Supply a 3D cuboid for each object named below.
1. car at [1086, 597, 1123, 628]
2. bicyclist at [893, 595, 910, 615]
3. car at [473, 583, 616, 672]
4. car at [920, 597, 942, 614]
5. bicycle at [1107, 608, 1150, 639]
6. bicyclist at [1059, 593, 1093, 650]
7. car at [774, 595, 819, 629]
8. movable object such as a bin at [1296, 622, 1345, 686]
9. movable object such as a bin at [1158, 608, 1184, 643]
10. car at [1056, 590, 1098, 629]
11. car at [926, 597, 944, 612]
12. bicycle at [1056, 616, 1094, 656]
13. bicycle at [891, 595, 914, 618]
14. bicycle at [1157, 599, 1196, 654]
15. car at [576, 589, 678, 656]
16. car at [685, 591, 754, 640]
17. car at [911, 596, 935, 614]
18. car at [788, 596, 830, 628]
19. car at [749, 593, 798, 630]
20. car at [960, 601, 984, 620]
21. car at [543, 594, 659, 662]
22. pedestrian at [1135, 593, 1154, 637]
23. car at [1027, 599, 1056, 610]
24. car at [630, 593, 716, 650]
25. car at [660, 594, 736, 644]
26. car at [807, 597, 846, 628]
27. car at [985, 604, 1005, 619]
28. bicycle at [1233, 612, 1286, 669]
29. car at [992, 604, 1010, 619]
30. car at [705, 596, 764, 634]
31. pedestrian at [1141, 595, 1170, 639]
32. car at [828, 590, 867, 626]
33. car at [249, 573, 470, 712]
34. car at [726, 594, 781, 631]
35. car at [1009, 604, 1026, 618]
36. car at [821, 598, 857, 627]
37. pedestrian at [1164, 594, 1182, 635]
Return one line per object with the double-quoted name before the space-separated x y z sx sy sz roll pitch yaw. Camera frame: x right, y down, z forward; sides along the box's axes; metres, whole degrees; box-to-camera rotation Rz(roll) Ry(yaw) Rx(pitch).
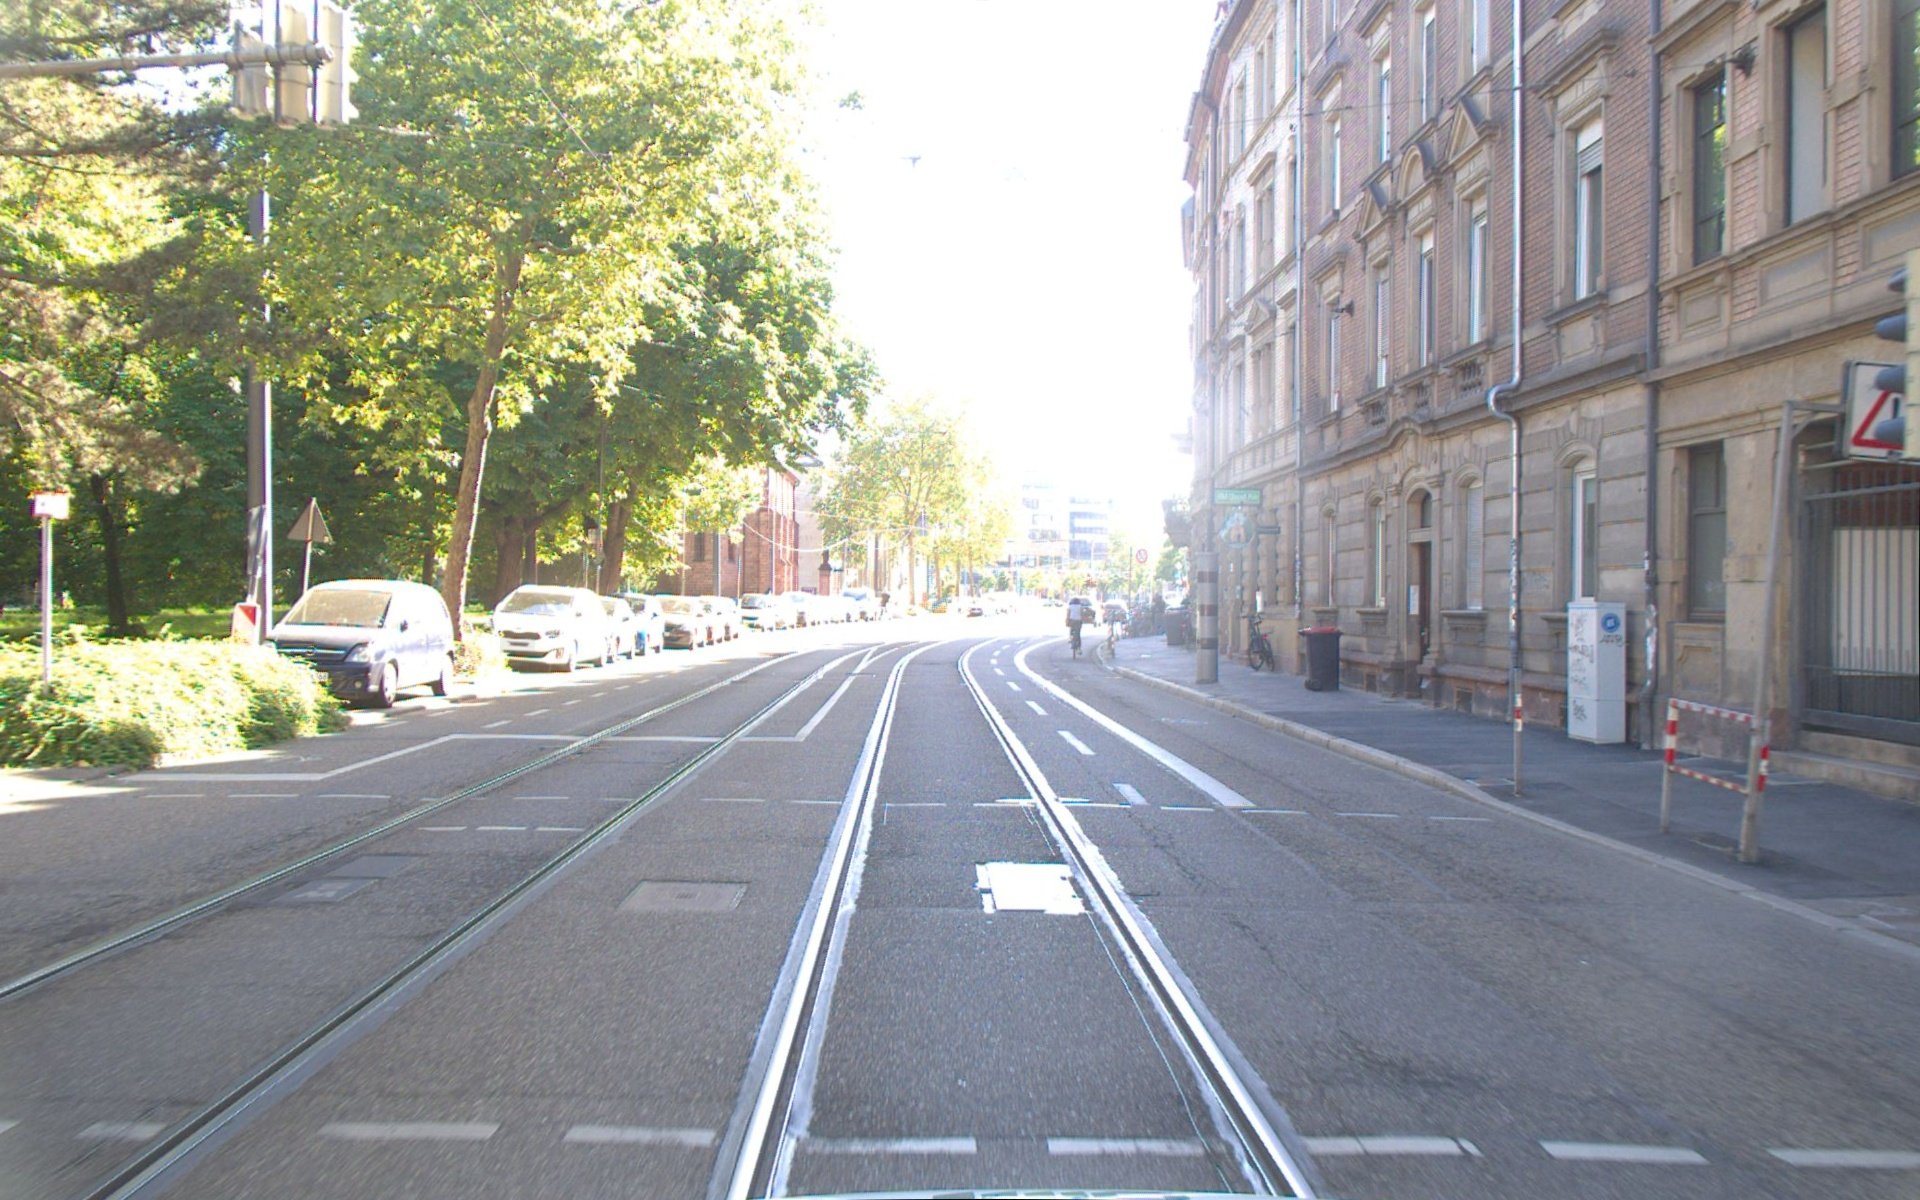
"car" 9.471 0.821 108.816 1.985 1.881 4.298 2 0 0
"bicyclist" -4.336 0.398 122.703 1.054 1.452 1.147 2 -1 7
"car" -8.246 0.534 33.196 1.712 1.636 4.044 2 0 1
"car" -2.627 0.544 150.325 1.712 1.447 4.045 2 0 3
"bicycle" 6.648 0.932 65.012 0.628 1.137 2.289 1 -1 35
"bicyclist" 3.319 0.624 47.281 0.821 1.585 0.965 2 -1 -2
"car" -8.082 0.592 82.191 1.712 1.614 4.044 2 0 1
"movable object such as a bin" 6.169 0.921 28.321 0.660 1.054 0.813 0 1 -1
"movable object such as a bin" 6.984 0.840 54.700 0.681 1.112 0.741 2 -1 -4
"car" 6.446 0.551 91.699 1.953 2.049 3.999 2 0 -1
"car" -2.899 0.517 189.154 1.712 1.653 4.045 2 0 3
"bicycle" 3.299 1.021 47.572 0.838 1.107 2.486 2 0 -1
"bicycle" -4.258 0.495 122.727 1.208 1.600 2.899 2 0 6
"bicycle" 6.471 0.791 49.388 0.950 1.541 3.248 2 0 10
"car" -8.628 0.566 43.206 1.712 1.614 4.044 2 0 1
"car" -8.502 0.547 58.704 1.712 1.614 4.044 2 0 1
"car" -3.112 0.456 140.279 1.712 1.447 4.045 2 0 3
"car" -7.942 0.630 87.069 1.712 1.614 4.044 2 0 1
"car" -8.628 0.534 76.736 1.712 1.614 4.044 2 0 1
"car" 0.974 0.828 130.717 1.712 1.447 4.045 2 0 3
"car" -8.369 0.634 38.860 1.712 1.447 4.044 2 0 1
"pedestrian" 8.147 0.674 73.124 0.767 1.922 0.971 2 -1 6
"car" 11.521 0.614 234.329 3.944 1.447 1.755 2 -1 9
"car" -8.397 0.620 48.726 1.712 1.536 4.044 2 0 1
"car" -8.542 0.609 54.283 1.712 1.532 4.044 2 0 1
"car" -7.428 0.685 92.284 1.712 1.614 4.044 2 0 1
"car" 3.422 1.126 161.281 1.712 1.447 4.045 2 0 3
"bicycle" 6.262 0.835 34.658 0.626 1.137 2.297 2 0 -1
"car" 4.264 1.226 171.150 1.712 1.447 4.045 2 0 3
"car" -8.991 0.595 66.226 1.712 1.388 4.044 2 0 1
"pedestrian" 8.313 0.725 70.340 1.033 1.791 1.332 2 -1 -1
"car" -6.936 0.509 102.533 2.016 2.088 4.044 2 0 1
"car" -8.060 0.540 22.537 1.513 1.687 3.763 2 0 1
"car" -8.912 0.536 71.662 1.712 1.521 4.044 2 0 1
"car" 6.244 1.165 180.263 1.712 1.447 4.045 2 0 3
"car" -7.094 0.733 97.485 1.712 1.614 4.044 2 0 1
"pedestrian" 10.203 0.681 79.336 0.767 1.922 0.971 2 -1 6
